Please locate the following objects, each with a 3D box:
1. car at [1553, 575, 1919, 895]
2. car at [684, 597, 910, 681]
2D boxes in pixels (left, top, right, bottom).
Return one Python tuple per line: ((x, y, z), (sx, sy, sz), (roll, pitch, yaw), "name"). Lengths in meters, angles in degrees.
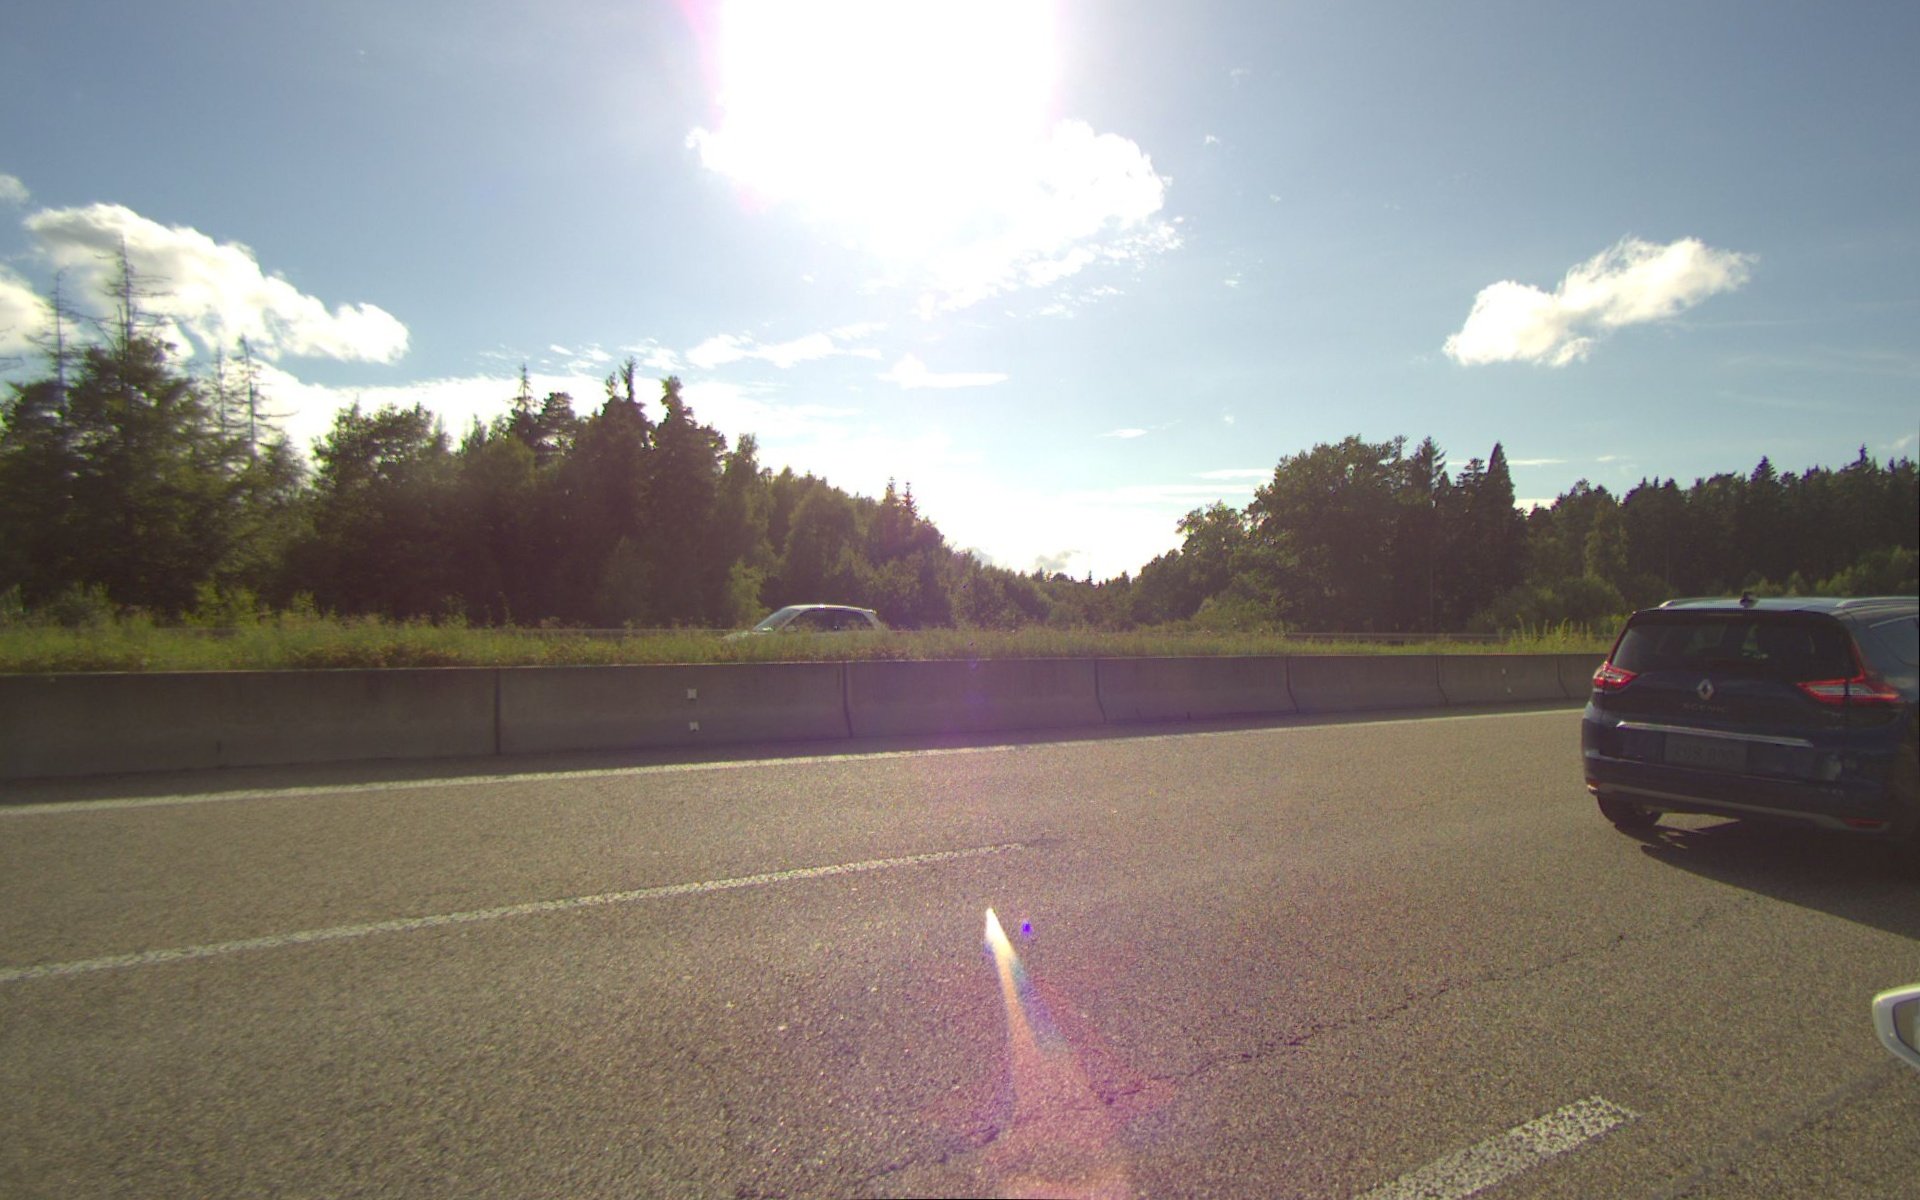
((6.632, 0.761, 7.407), (4.476, 1.729, 1.984), (1, 0, -31), "car")
((-3.147, 0.716, 19.541), (3.953, 1.476, 1.832), (1, 0, -30), "car")
